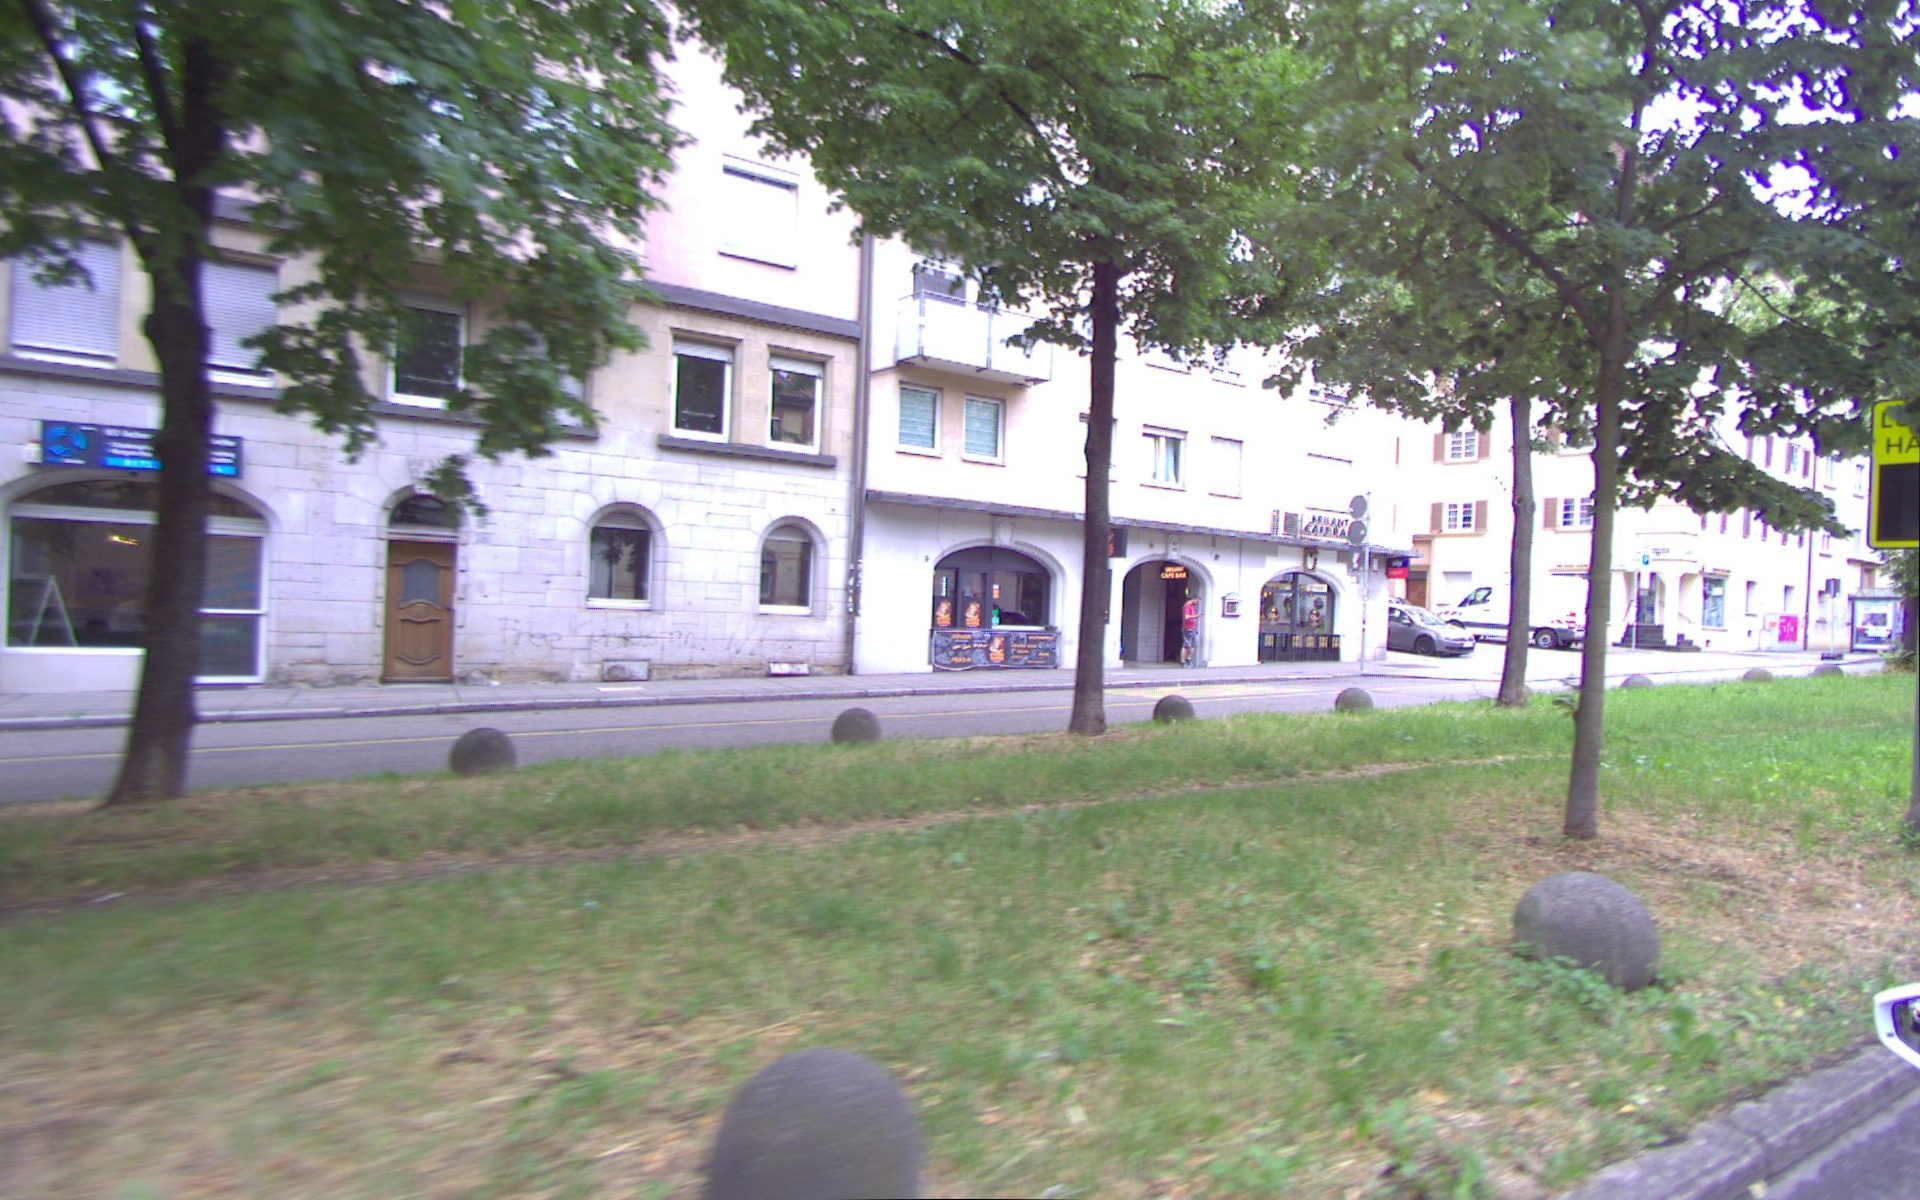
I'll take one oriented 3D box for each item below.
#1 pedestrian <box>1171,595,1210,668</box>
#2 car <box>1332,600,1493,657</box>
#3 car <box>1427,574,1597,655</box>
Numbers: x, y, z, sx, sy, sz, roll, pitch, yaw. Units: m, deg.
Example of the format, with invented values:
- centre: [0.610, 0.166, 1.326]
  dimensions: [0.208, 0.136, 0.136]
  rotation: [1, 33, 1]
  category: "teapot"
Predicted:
- centre: [5.443, 0.744, 23.753]
  dimensions: [0.693, 1.688, 0.529]
  rotation: [1, 0, -31]
  category: "pedestrian"
- centre: [14.263, 0.857, 31.886]
  dimensions: [2.023, 1.439, 4.267]
  rotation: [1, 3, -30]
  category: "car"
- centre: [20.724, 0.477, 37.908]
  dimensions: [2.159, 2.773, 5.128]
  rotation: [1, 1, -40]
  category: "car"
